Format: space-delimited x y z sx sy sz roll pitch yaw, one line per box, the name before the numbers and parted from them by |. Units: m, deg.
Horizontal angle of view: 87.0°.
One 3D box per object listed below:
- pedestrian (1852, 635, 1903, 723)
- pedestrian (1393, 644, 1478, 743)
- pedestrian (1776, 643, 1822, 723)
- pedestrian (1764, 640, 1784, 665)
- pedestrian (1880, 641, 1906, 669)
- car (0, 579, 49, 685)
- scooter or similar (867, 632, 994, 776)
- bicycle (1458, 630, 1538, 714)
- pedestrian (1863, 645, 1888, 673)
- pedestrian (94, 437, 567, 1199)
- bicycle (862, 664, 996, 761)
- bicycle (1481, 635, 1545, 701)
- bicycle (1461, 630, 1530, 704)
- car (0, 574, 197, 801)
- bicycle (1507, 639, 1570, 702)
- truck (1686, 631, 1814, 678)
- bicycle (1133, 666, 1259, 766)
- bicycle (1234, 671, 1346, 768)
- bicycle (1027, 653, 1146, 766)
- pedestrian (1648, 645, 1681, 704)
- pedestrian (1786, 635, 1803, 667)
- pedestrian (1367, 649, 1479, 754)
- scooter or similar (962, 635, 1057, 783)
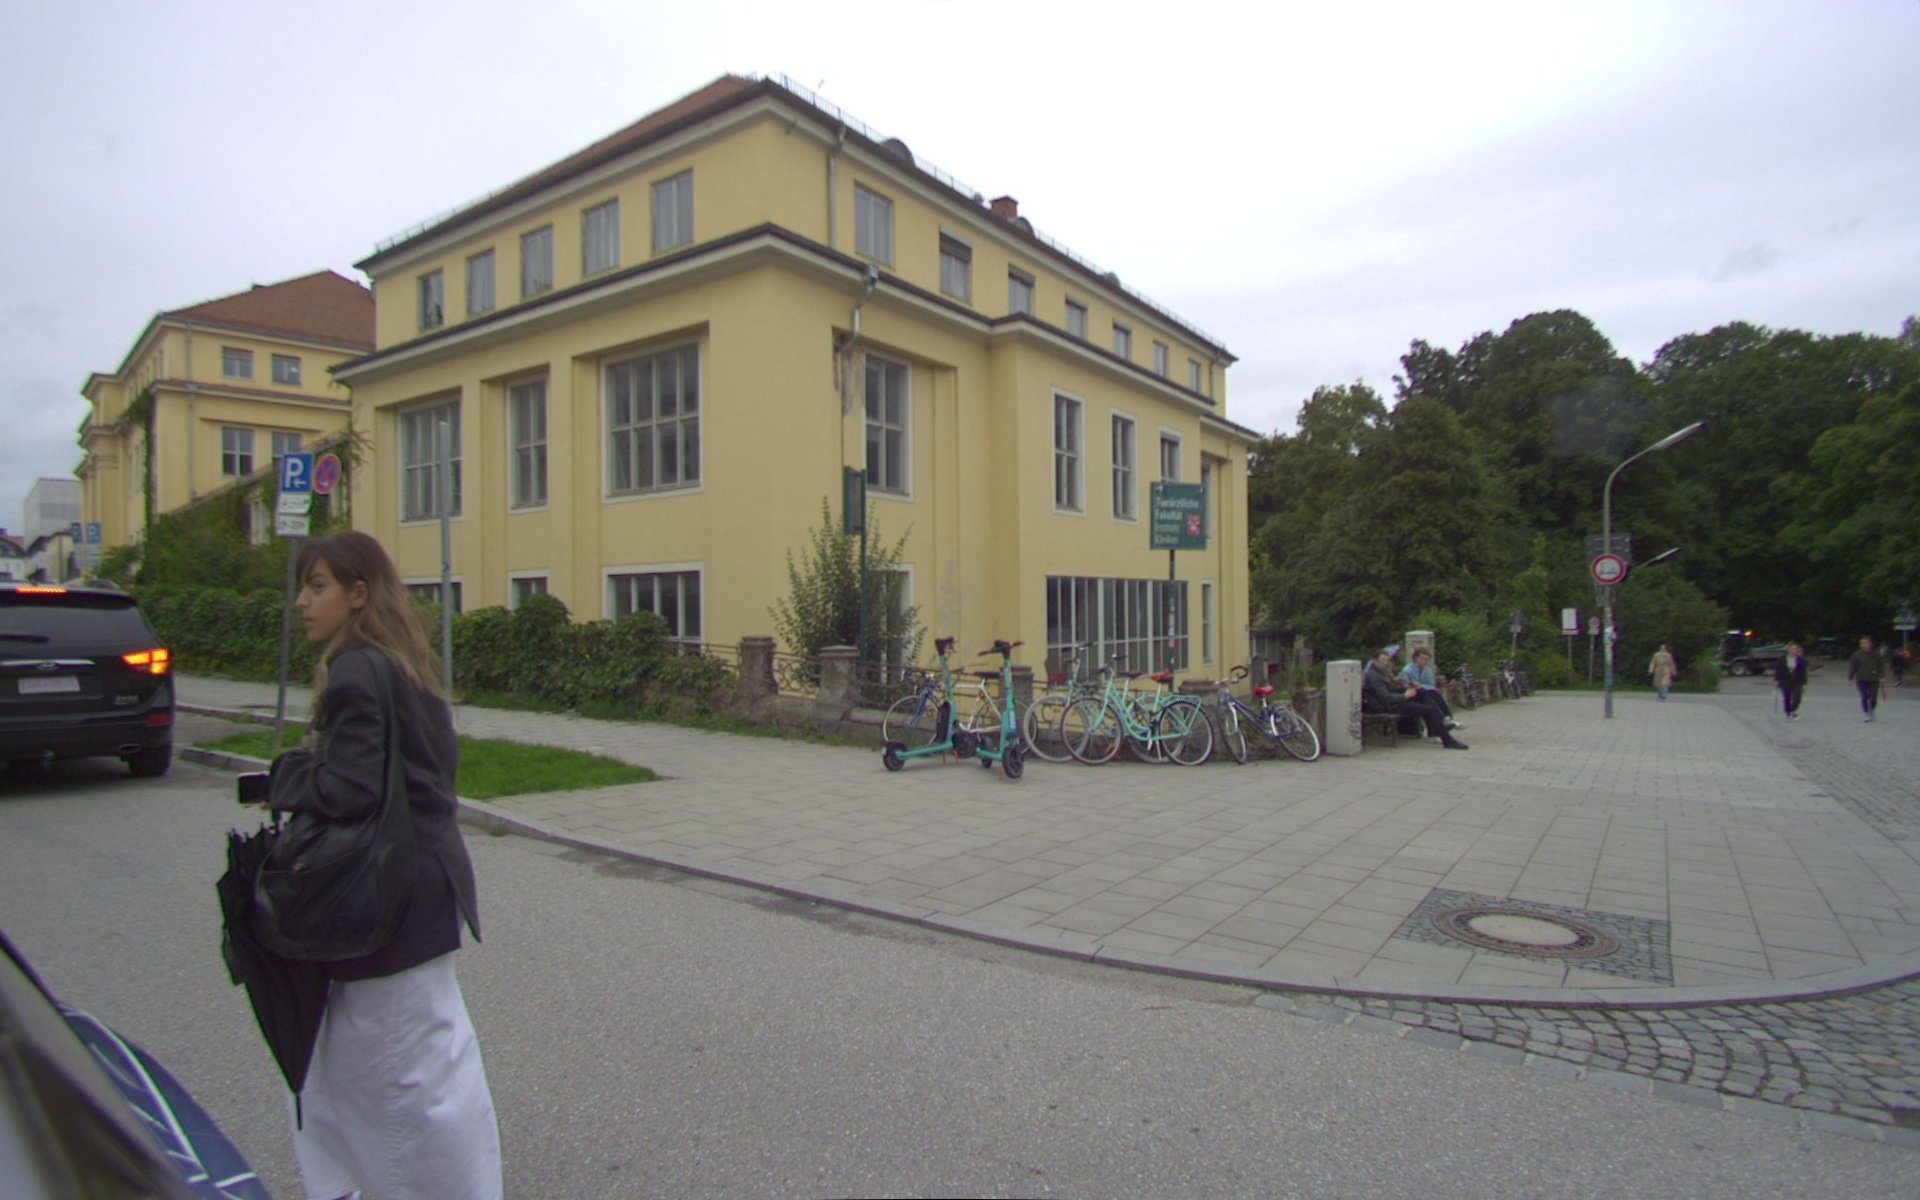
pedestrian | 18.520 1.579 20.449 0.659 1.710 0.742 -2 -2 37
pedestrian | 6.906 1.325 14.688 1.028 1.345 0.946 -1 -1 29
pedestrian | 17.546 1.718 21.165 0.691 1.593 0.741 -2 -2 40
pedestrian | 49.443 3.177 61.492 0.618 1.506 0.665 0 -2 -12
pedestrian | 55.849 3.297 60.604 0.875 1.665 0.729 -1 -2 18
car | -20.065 0.624 20.257 4.616 1.994 1.906 -2 -4 39
scooter or similar | -0.264 0.947 9.613 1.245 1.253 0.395 1 0 -43
bicycle | 11.858 1.529 22.430 1.044 1.674 3.132 -1 -1 19
pedestrian | 54.597 3.525 60.367 0.720 1.665 0.885 1 -2 -30
pedestrian | -1.303 0.579 2.142 0.662 1.710 0.539 -1 -3 24
bicycle | -0.320 1.155 10.551 1.319 0.900 0.432 1 0 17
bicycle | 15.181 1.820 27.882 1.044 1.674 3.131 -1 -1 20
bicycle | 13.333 1.617 25.296 1.044 1.674 2.984 -1 -1 19
car | -8.877 0.716 9.448 4.614 1.732 1.972 -2 -2 42
bicycle | 17.085 2.038 29.971 1.044 1.674 3.131 -1 -1 20
truck | 43.663 2.974 56.007 5.406 2.480 2.404 0 -1 -8
bicycle | 2.489 1.208 10.678 1.254 0.985 0.415 0 -2 -18
bicycle | 3.670 1.299 11.227 1.254 0.985 0.415 1 -2 -28
bicycle | 1.300 1.109 10.385 1.171 1.119 0.302 1 -1 -13
pedestrian | 21.458 2.244 30.845 0.747 1.719 1.100 -1 -1 32
pedestrian | 53.143 3.254 64.455 0.695 2.029 0.710 -2 -3 36
pedestrian | 6.095 1.303 13.330 1.261 1.278 0.842 -1 -1 30
scooter or similar | 0.435 0.957 9.268 0.432 1.221 1.057 1 0 -23
